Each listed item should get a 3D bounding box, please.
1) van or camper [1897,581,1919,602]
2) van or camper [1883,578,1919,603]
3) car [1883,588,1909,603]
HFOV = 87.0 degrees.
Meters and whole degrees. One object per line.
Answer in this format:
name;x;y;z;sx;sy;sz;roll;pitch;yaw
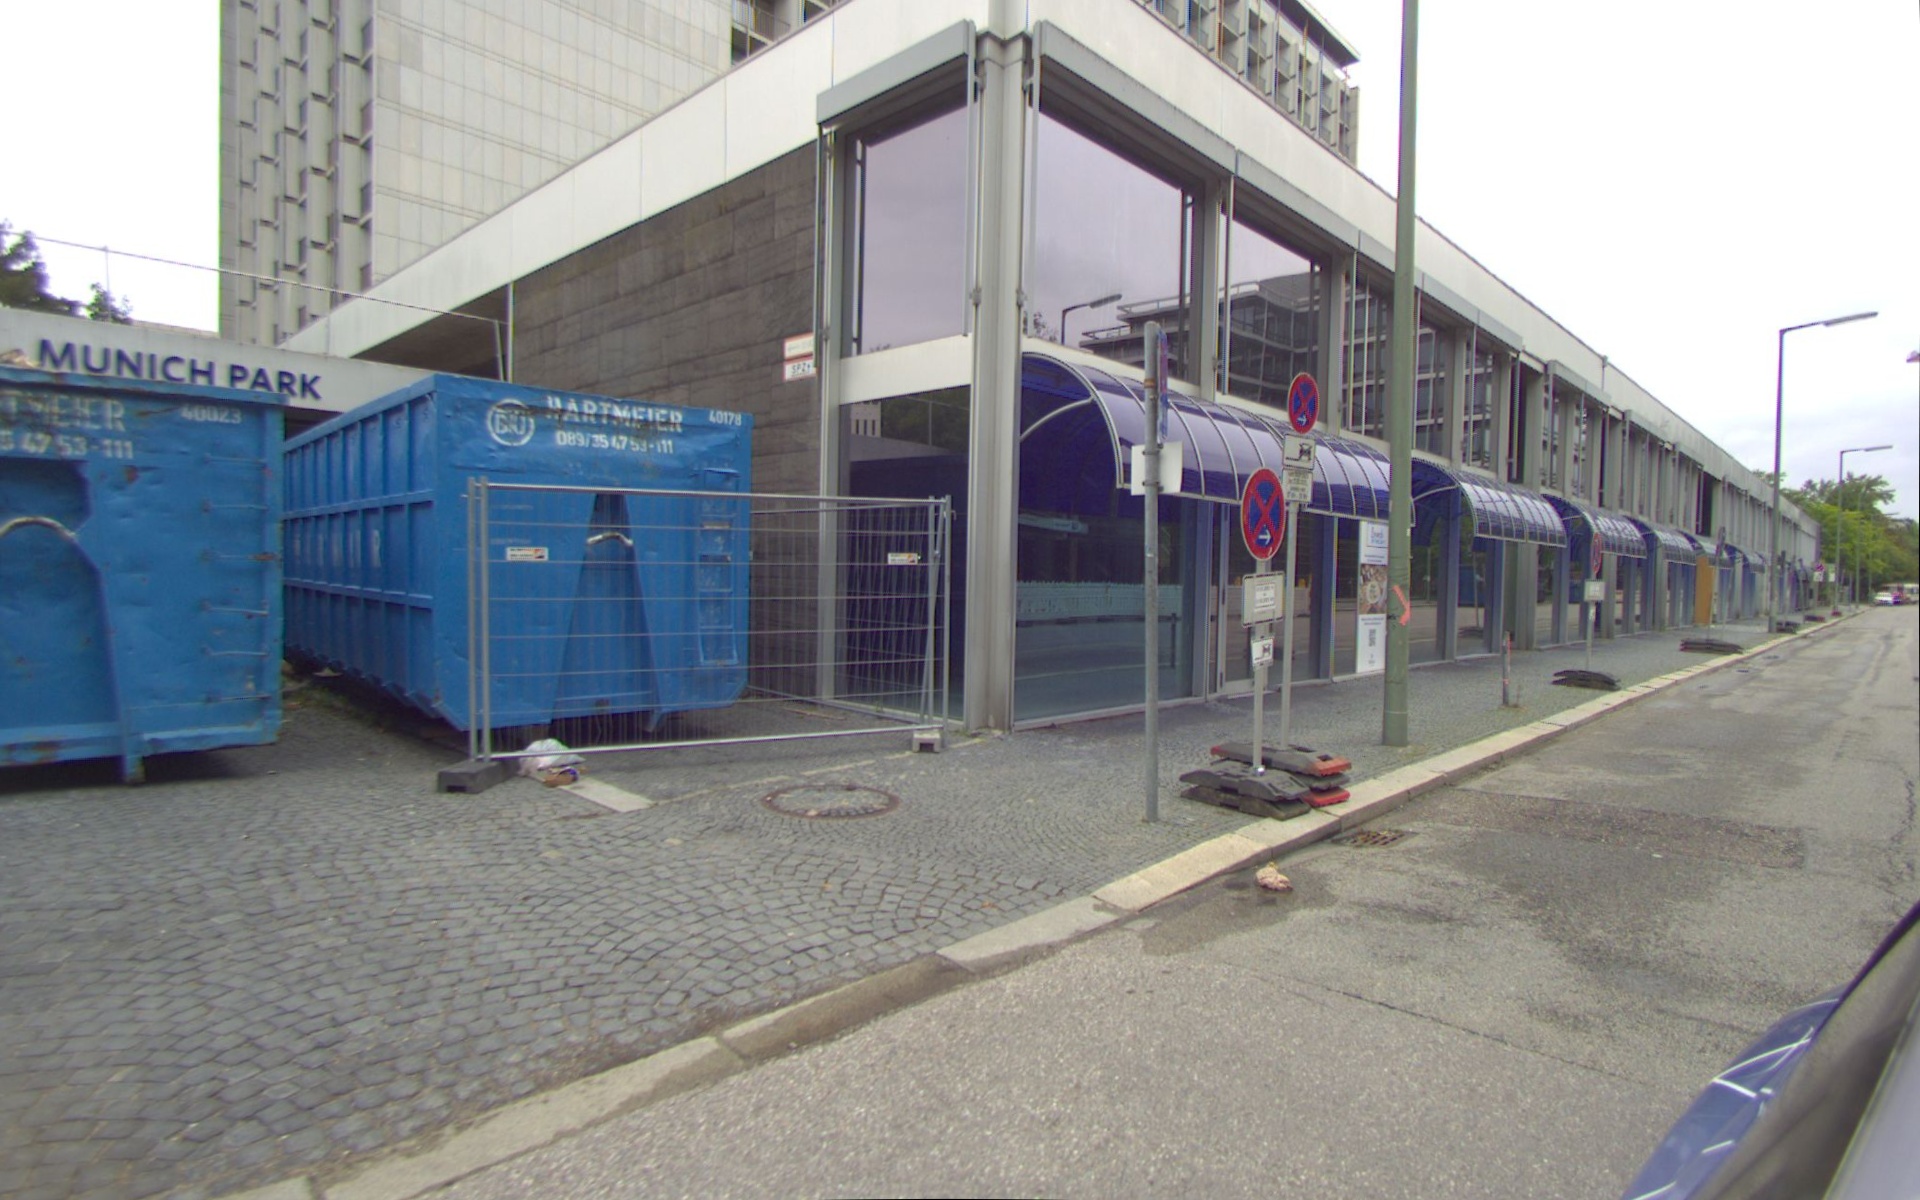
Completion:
van or camper;121.258;-1.046;128.366;6.331;2.481;2.666;0;2;-40
van or camper;110.720;-1.100;118.997;6.798;2.801;2.664;0;2;-43
car;106.177;-0.488;114.799;3.935;1.657;1.909;0;2;-45
